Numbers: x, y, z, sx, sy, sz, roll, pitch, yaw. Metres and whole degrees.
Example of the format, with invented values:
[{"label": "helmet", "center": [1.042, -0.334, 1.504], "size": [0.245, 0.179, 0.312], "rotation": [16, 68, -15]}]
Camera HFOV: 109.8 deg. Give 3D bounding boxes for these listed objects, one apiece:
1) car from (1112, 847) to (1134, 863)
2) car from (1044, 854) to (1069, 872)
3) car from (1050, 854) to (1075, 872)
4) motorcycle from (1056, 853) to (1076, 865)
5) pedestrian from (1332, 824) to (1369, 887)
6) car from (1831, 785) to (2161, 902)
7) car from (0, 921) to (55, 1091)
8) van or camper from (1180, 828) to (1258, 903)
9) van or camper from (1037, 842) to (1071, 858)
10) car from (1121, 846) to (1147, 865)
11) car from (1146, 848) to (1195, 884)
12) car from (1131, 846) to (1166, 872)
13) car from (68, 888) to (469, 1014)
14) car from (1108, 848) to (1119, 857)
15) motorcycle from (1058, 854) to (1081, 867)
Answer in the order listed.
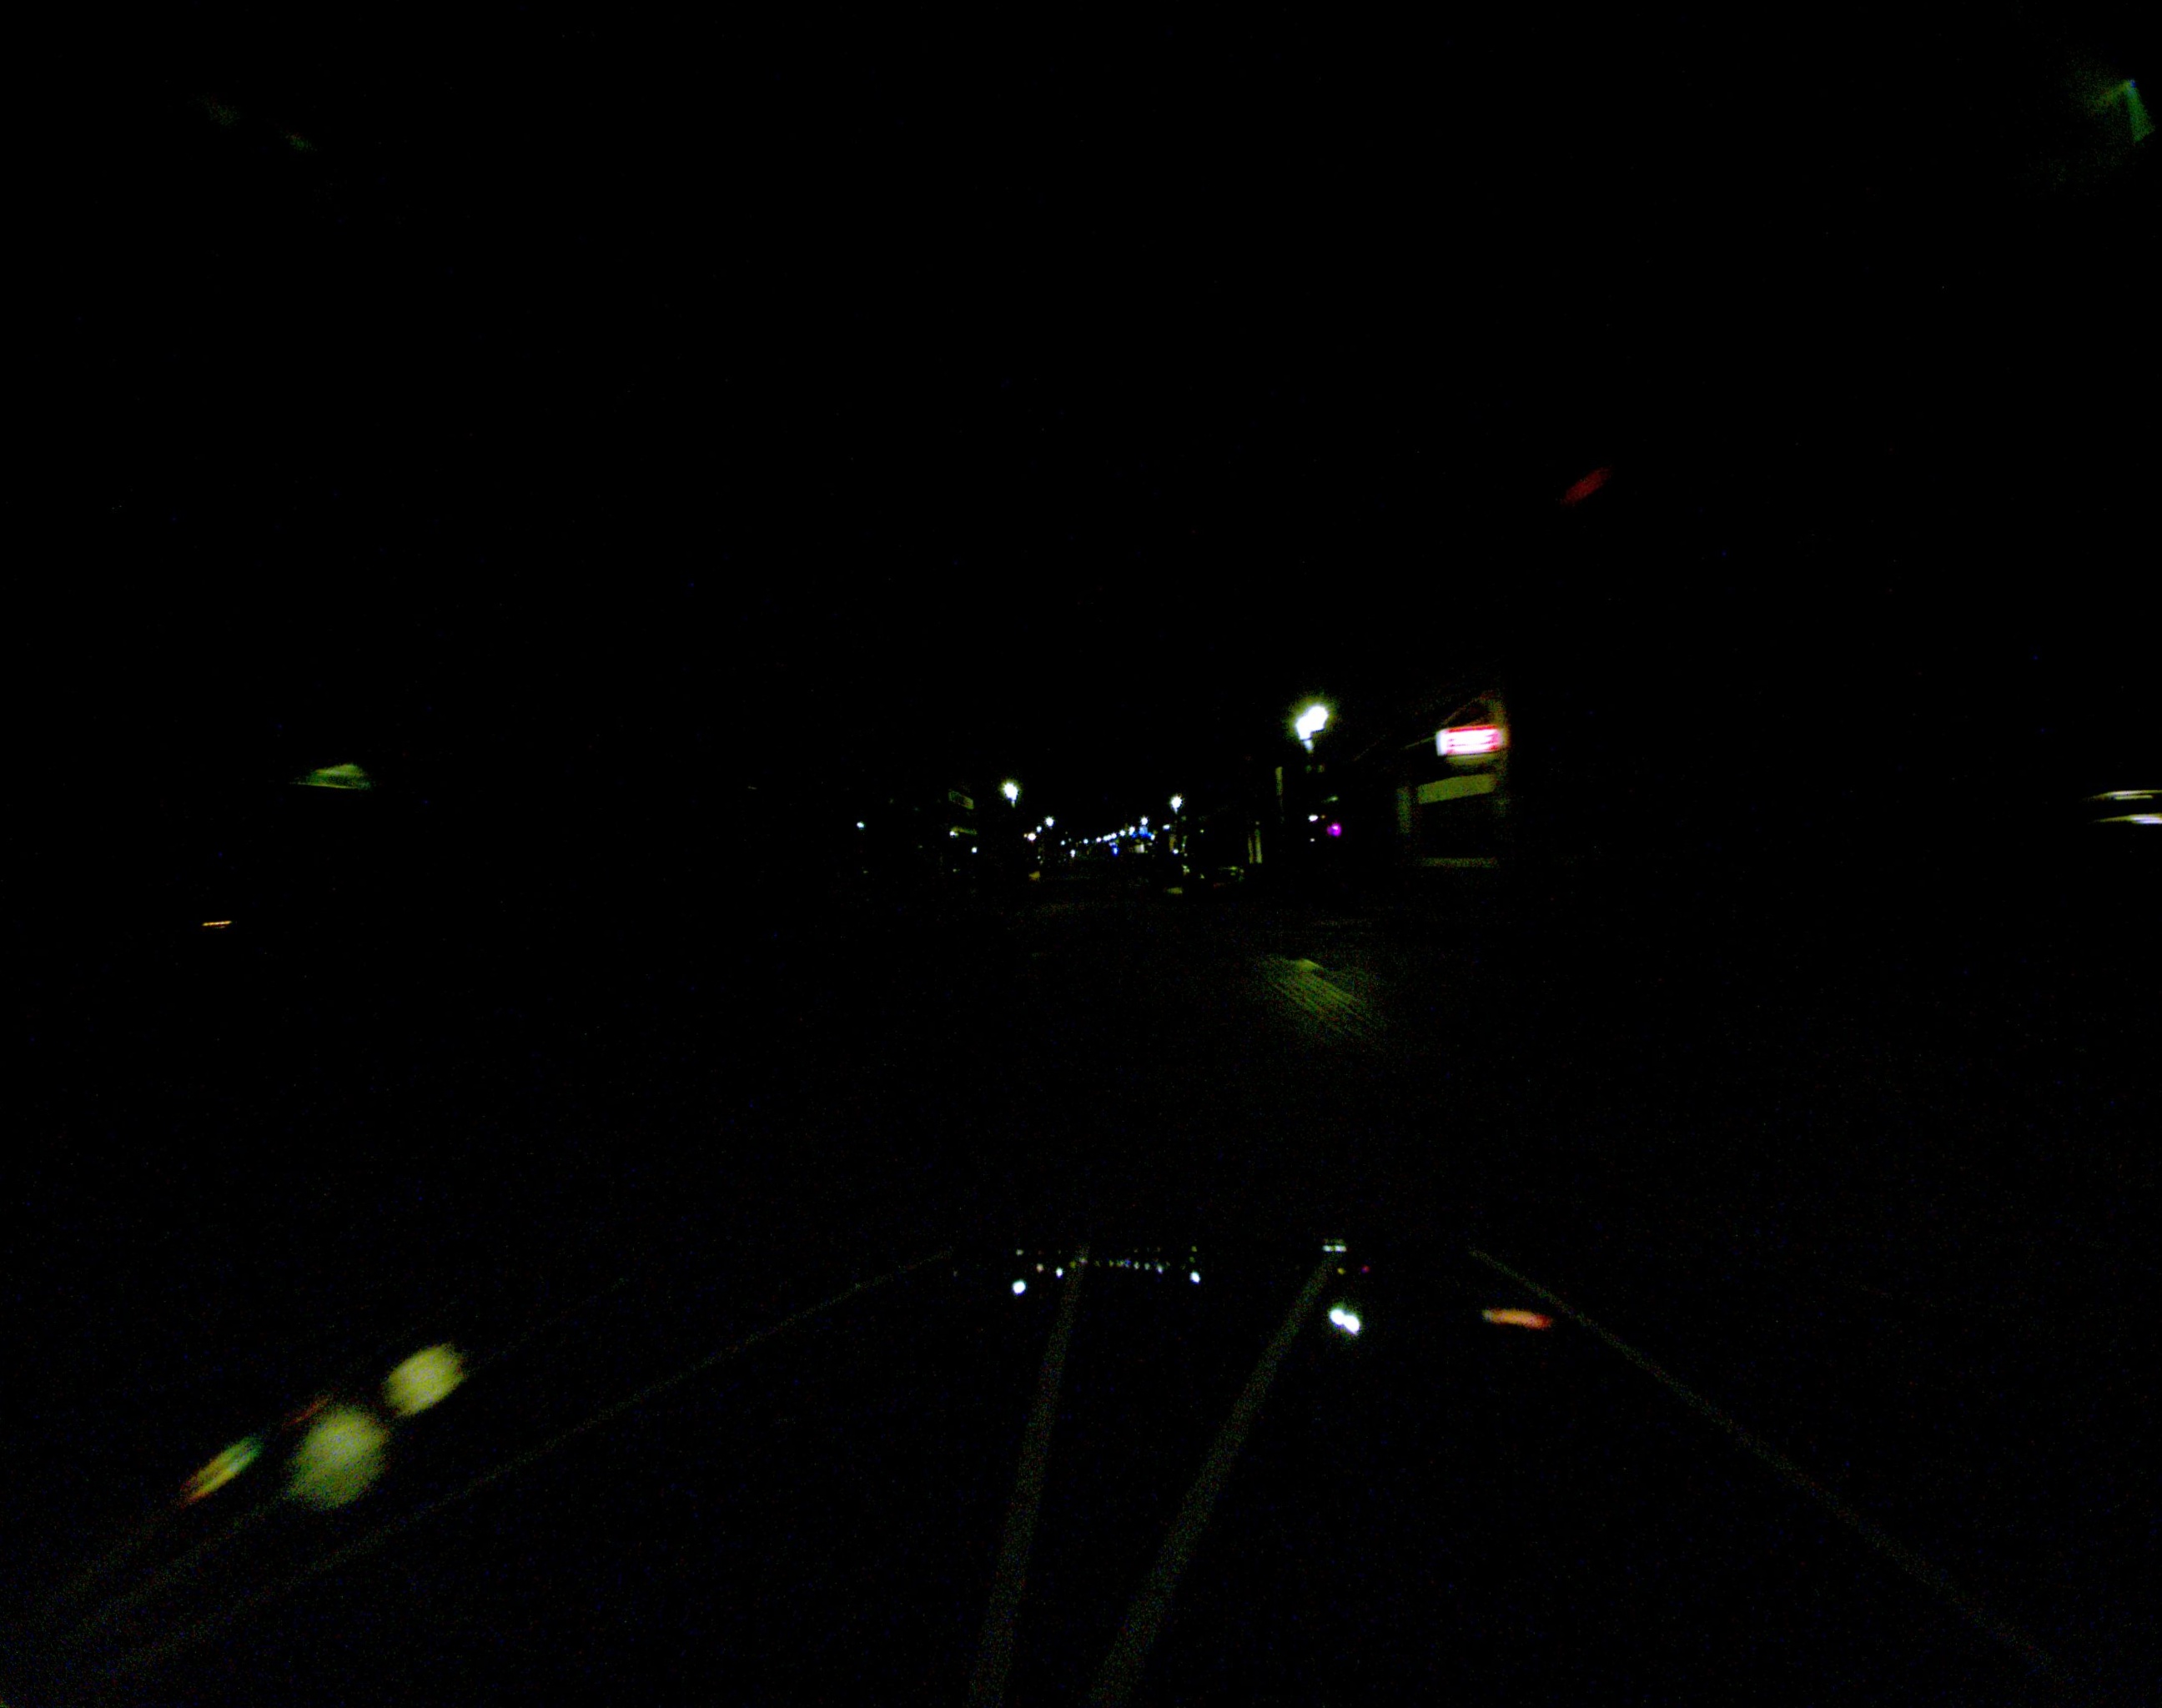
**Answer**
[{"label": "car", "center": [4.361, 0.062, 79.605], "size": [1.905, 1.462, 4.524], "rotation": [-4, 1, -2]}, {"label": "car", "center": [-2.069, 0.726, 64.555], "size": [1.665, 1.369, 4.104], "rotation": [-2, 1, 4]}, {"label": "car", "center": [-1.659, 0.779, 69.274], "size": [1.757, 1.455, 4.467], "rotation": [-2, 1, 4]}, {"label": "motorcycle", "center": [-1.694, 0.602, 85.233], "size": [2.165, 1.290, 0.516], "rotation": [-2, 1, 30]}, {"label": "pedestrian", "center": [7.752, 0.027, 21.881], "size": [0.622, 1.735, 1.022], "rotation": [-4, 1, 1]}, {"label": "car", "center": [14.451, -0.178, 11.414], "size": [4.452, 1.392, 1.780], "rotation": [-5, -2, 0]}, {"label": "car", "center": [-11.117, 1.365, 6.014], "size": [3.622, 1.433, 1.725], "rotation": [-1, 1, 1]}, {"label": "van or camper", "center": [4.076, 0.285, 23.238], "size": [1.850, 1.930, 5.155], "rotation": [-4, 0, 6]}, {"label": "van or camper", "center": [-5.142, -0.778, 144.926], "size": [6.060, 2.518, 2.158], "rotation": [-4, 1, -30]}, {"label": "car", "center": [4.642, 0.128, 67.222], "size": [1.850, 1.455, 4.622], "rotation": [-5, 1, 0]}, {"label": "car", "center": [4.060, 0.488, 35.010], "size": [1.721, 1.404, 4.385], "rotation": [-5, 0, 1]}, {"label": "car", "center": [4.345, 0.266, 49.296], "size": [1.802, 1.469, 4.320], "rotation": [-5, 1, 0]}, {"label": "car", "center": [-12.521, 1.448, 11.927], "size": [4.316, 1.629, 1.901], "rotation": [-2, -1, 2]}, {"label": "car", "center": [5.903, -0.239, 137.527], "size": [1.655, 1.417, 4.014], "rotation": [-6, 0, -1]}, {"label": "motorcycle", "center": [-1.239, 0.693, 81.435], "size": [2.266, 1.383, 0.662], "rotation": [-2, 1, 26]}]
